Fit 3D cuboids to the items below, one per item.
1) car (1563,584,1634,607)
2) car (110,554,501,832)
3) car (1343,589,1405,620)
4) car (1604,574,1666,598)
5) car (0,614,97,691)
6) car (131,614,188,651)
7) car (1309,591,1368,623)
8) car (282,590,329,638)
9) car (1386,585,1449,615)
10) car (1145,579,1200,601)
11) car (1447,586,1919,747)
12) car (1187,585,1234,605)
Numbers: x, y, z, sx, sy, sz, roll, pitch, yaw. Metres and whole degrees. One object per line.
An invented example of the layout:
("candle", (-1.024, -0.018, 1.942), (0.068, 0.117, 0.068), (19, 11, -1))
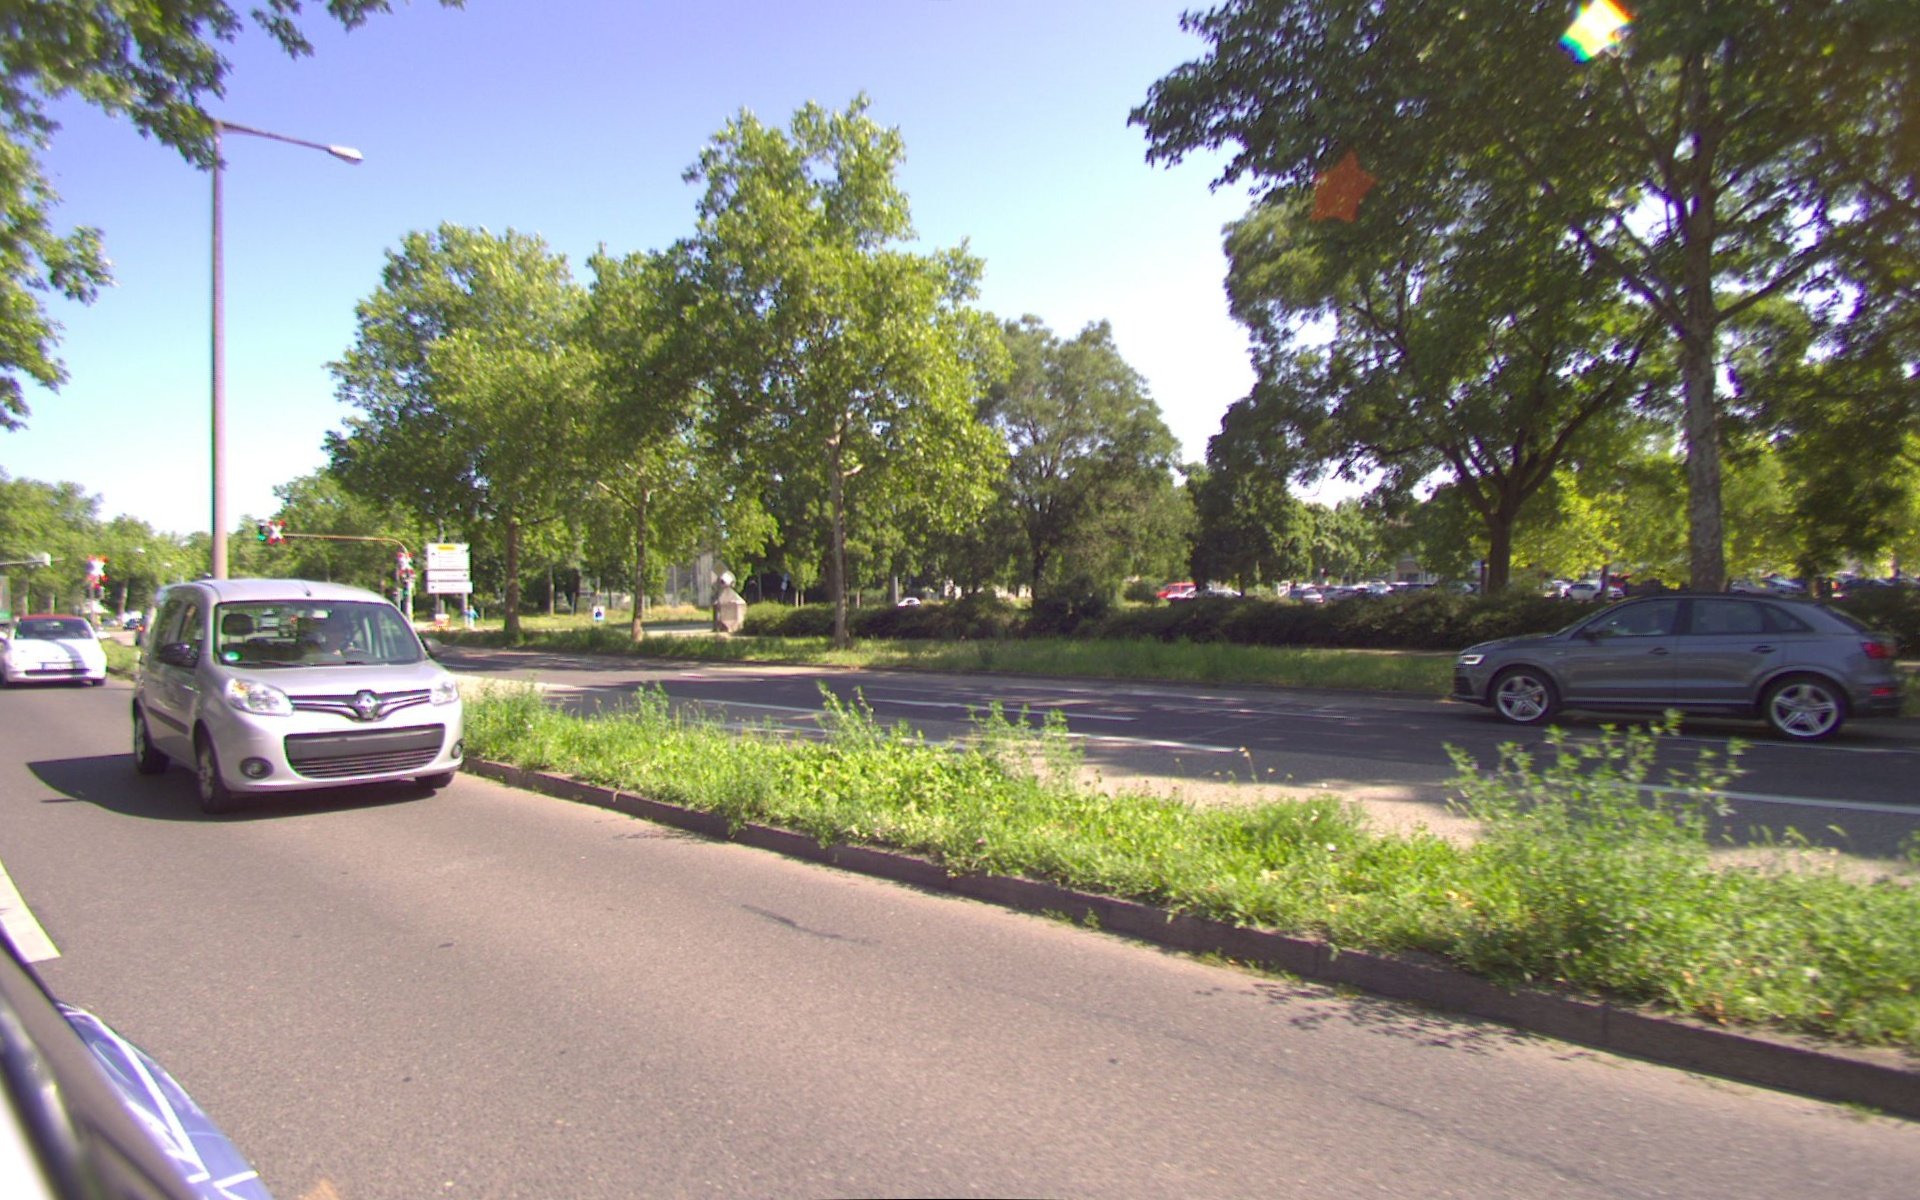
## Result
("car", (44.910, -0.312, 71.309), (1.786, 1.502, 4.012), (-1, 0, -17))
("car", (-5.932, 0.673, 8.946), (4.375, 1.854, 1.852), (-1, -2, 43))
("car", (28.268, 0.347, 69.231), (1.787, 2.029, 4.011), (-1, 0, -14))
("car", (54.348, -1.114, 81.552), (1.740, 1.853, 3.939), (-1, 0, -14))
("car", (-19.808, 1.092, 21.744), (1.665, 1.502, 4.379), (1, -2, -44))
("car", (-35.329, 1.428, 44.753), (1.671, 1.519, 4.140), (-1, 0, -34))
("car", (25.723, 0.476, 68.898), (1.787, 2.029, 4.011), (-1, 0, -14))
("car", (-37.851, 0.828, 58.423), (2.033, 2.633, 7.235), (0, -1, -35))
("car", (31.595, 0.020, 70.007), (1.787, 2.029, 4.011), (-1, 0, -14))
("car", (17.297, -0.801, 82.399), (3.923, 1.715, 1.818), (-1, 0, -9))
("car", (8.264, 0.687, 11.808), (4.389, 1.568, 1.777), (-1, -1, 38))
("car", (19.545, -0.401, 79.003), (3.288, 1.457, 1.351), (-1, 0, -9))
